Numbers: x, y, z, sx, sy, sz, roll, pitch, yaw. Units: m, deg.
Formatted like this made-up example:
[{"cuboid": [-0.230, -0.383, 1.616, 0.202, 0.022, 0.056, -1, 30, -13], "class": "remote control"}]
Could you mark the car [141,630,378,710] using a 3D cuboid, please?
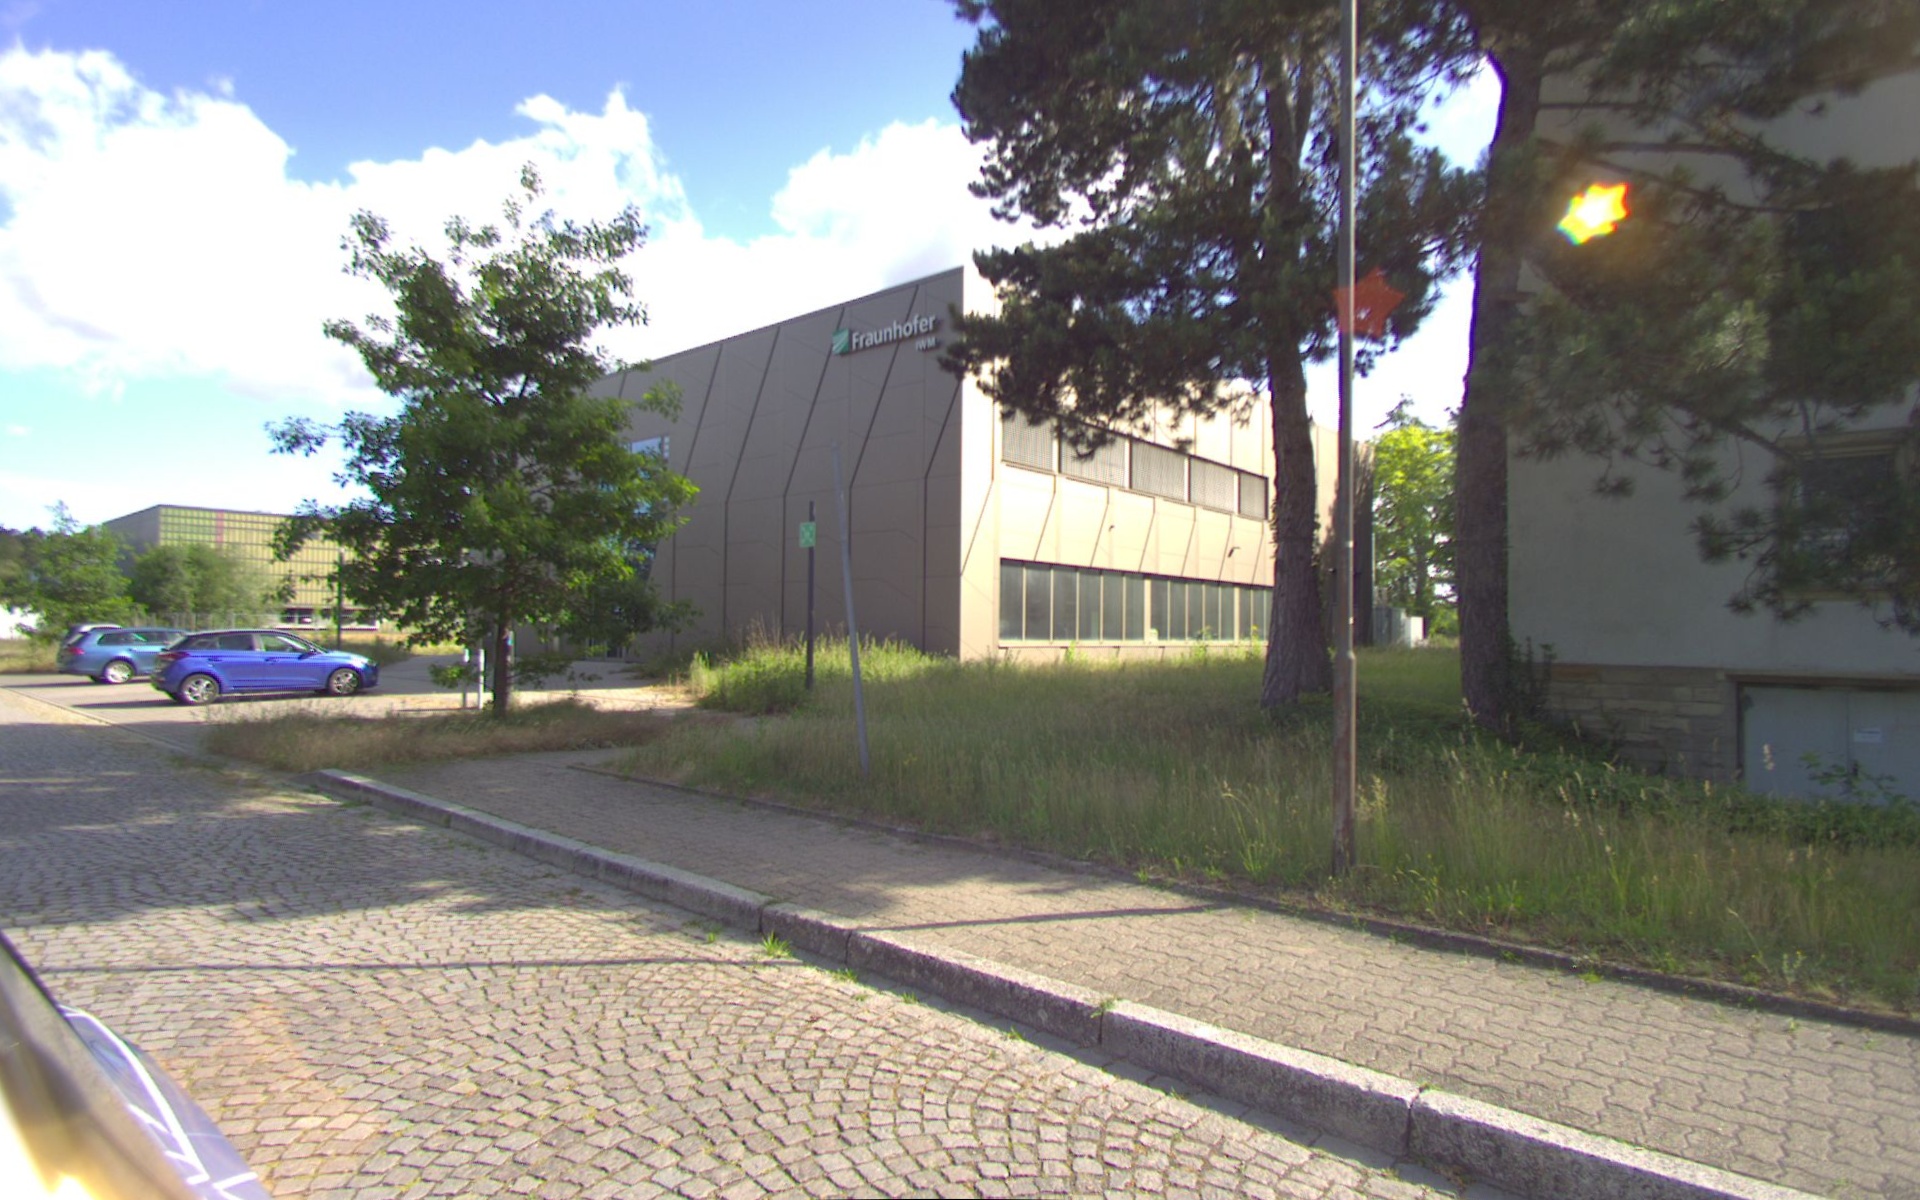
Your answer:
[{"cuboid": [-14.736, 1.410, 21.433, 1.735, 1.479, 3.866, -1, -2, 43], "class": "car"}]

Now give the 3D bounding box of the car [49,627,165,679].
[{"cuboid": [-27.396, 1.666, 32.532, 1.480, 1.580, 2.619, -1, -2, 39], "class": "car"}]

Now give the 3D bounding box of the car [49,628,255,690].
[{"cuboid": [-21.915, 1.542, 27.580, 1.732, 1.485, 4.128, -1, -1, 38], "class": "car"}]
